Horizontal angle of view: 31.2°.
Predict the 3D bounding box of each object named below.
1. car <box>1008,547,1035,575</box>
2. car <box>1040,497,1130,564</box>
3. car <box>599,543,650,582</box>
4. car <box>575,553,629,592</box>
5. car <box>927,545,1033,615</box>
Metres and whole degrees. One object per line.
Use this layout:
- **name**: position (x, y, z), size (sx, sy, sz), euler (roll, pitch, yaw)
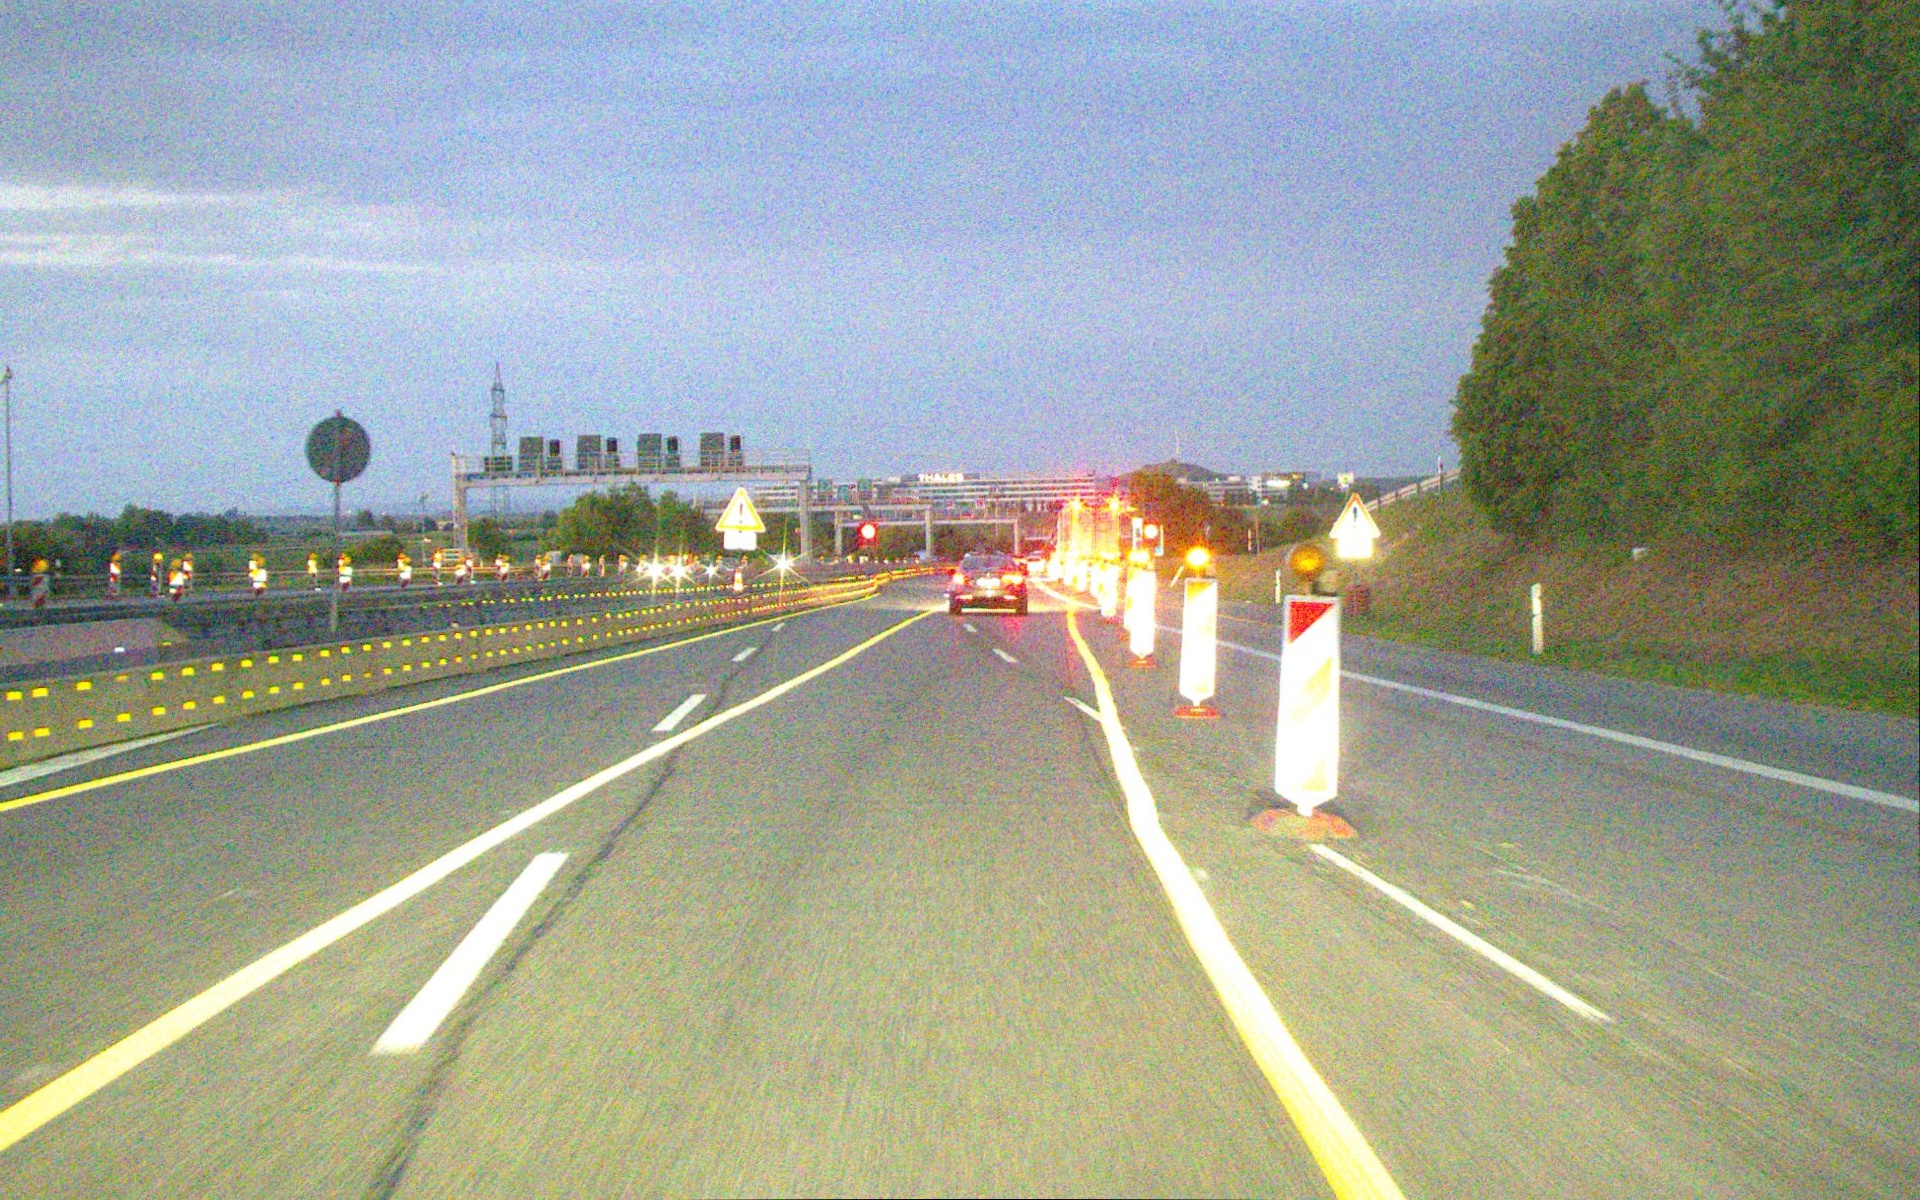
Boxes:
- **car**: position (4.596, -2.922, 257.611), size (1.993, 2.007, 4.000), euler (1, 1, 0)
- **car**: position (6.529, -3.633, 180.618), size (3.604, 3.384, 8.016), euler (1, 1, -6)
- **car**: position (-16.104, -1.813, 165.099), size (1.993, 1.821, 4.000), euler (1, 1, 1)
- **car**: position (-16.415, -1.263, 157.817), size (1.993, 1.708, 4.000), euler (1, 1, 1)
- **car**: position (0.451, -0.506, 82.586), size (2.265, 1.616, 4.001), euler (0, 1, -4)
